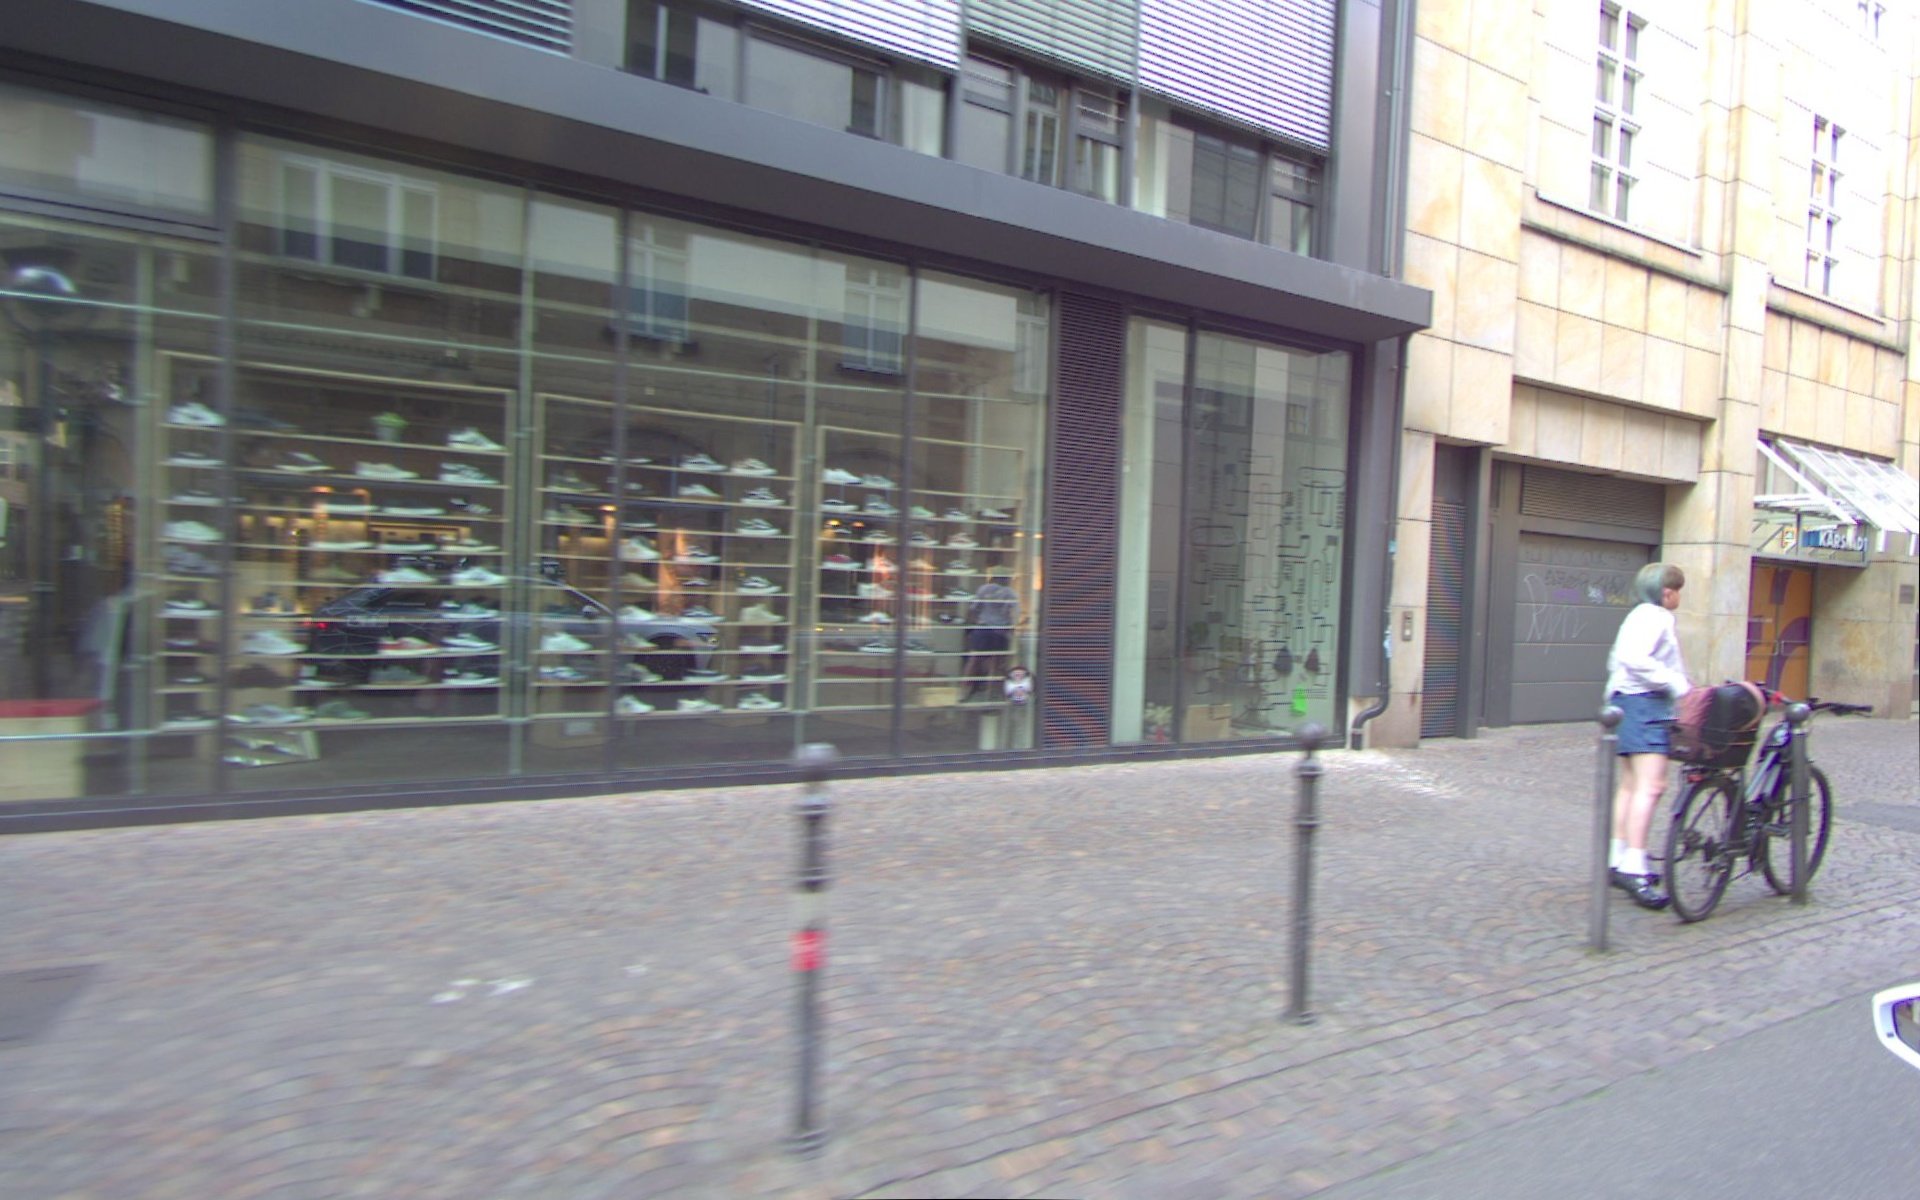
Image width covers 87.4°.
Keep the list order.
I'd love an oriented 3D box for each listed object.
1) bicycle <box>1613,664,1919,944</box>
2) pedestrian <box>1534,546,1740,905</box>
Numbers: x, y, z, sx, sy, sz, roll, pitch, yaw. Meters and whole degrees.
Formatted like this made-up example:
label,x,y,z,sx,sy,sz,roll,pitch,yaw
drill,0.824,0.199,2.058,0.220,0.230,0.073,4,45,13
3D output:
label,x,y,z,sx,sy,sz,roll,pitch,yaw
bicycle,4.162,0.941,5.086,1.891,1.169,0.530,1,3,-28
pedestrian,3.611,0.607,5.367,0.758,1.741,0.589,5,3,40
